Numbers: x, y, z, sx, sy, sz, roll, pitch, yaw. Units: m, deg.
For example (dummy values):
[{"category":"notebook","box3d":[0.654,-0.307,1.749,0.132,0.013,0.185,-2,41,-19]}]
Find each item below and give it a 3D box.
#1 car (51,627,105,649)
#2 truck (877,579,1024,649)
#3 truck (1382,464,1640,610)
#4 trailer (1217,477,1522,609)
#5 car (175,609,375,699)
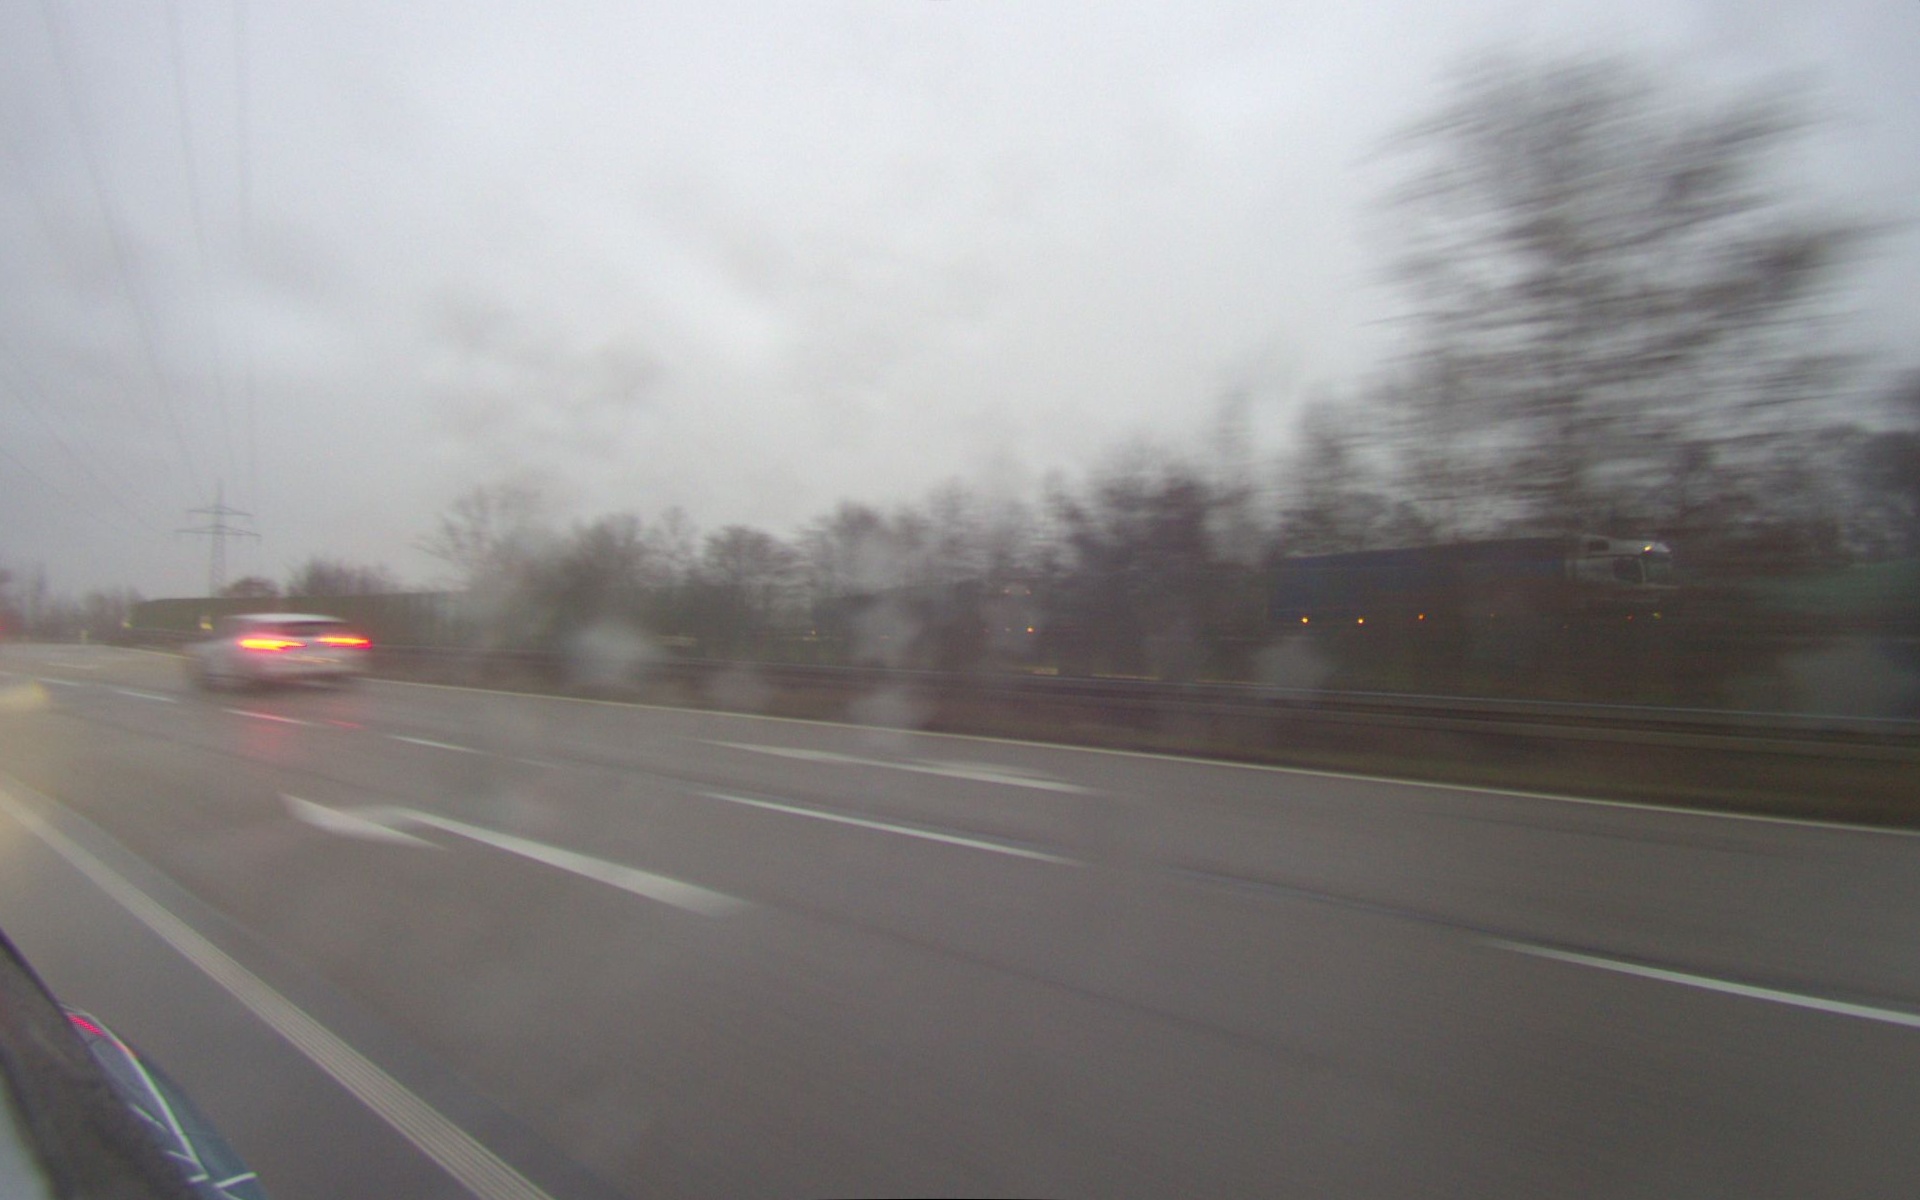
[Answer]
[{"category":"car","box3d":[-55.448,2.377,63.680,1.573,1.253,4.013,-2,0,-27]},{"category":"truck","box3d":[-1.047,0.945,73.803,3.232,4.645,13.908,1,-1,-36]},{"category":"truck","box3d":[21.818,-2.243,40.673,3.232,5.169,8.540,1,-1,-36]},{"category":"trailer","box3d":[17.988,-2.245,46.126,3.257,5.142,13.263,2,-1,-35]},{"category":"car","box3d":[-13.115,0.933,19.293,4.377,1.501,1.974,0,0,39]}]
